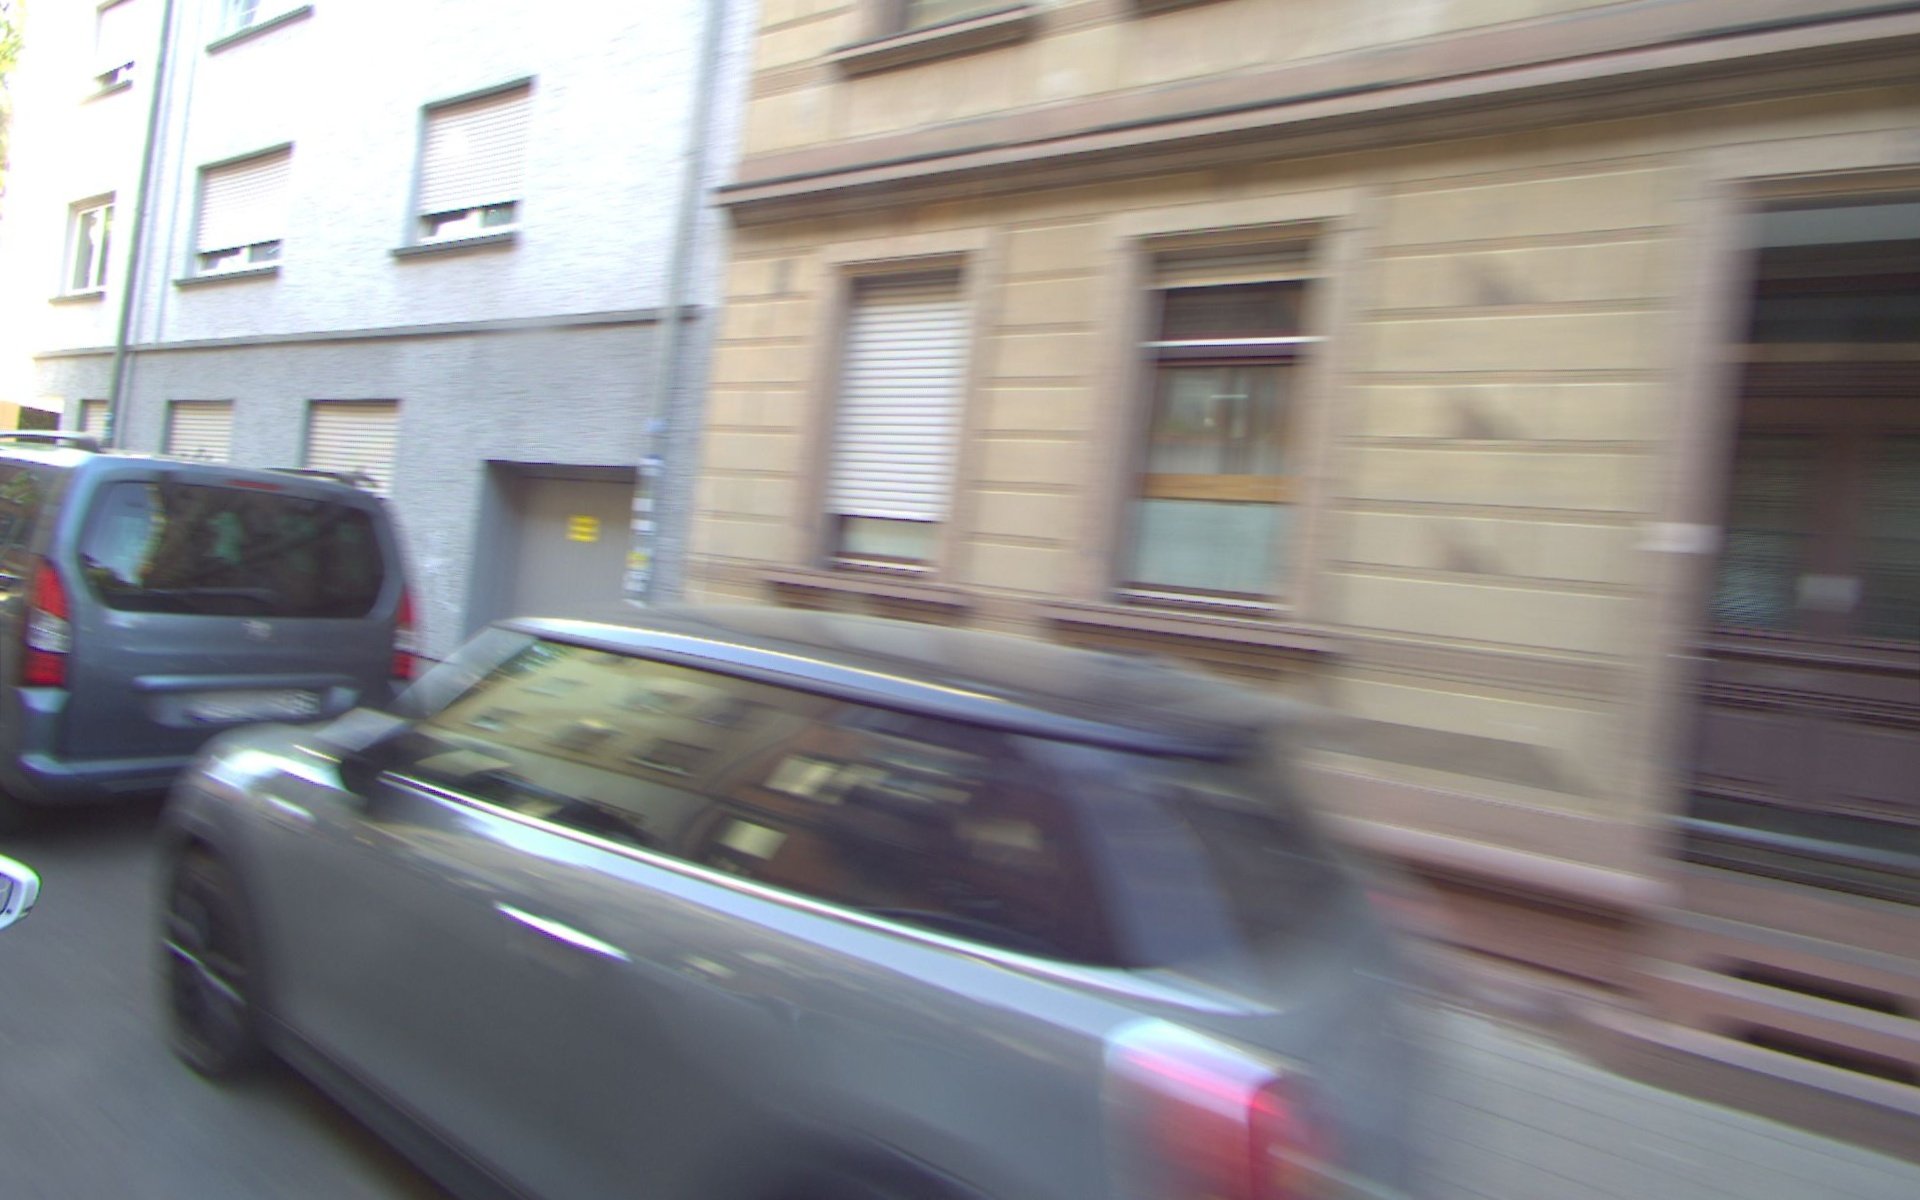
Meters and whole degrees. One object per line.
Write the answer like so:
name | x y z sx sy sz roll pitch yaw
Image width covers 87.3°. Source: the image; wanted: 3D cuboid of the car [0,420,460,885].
car | -5.171 0.004 5.860 4.644 1.809 1.755 7 2 31

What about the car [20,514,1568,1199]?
car | -0.833 0.700 2.877 4.218 1.473 1.753 7 3 33

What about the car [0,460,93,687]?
car | -9.142 -0.435 8.112 4.318 1.659 1.904 6 -1 31
